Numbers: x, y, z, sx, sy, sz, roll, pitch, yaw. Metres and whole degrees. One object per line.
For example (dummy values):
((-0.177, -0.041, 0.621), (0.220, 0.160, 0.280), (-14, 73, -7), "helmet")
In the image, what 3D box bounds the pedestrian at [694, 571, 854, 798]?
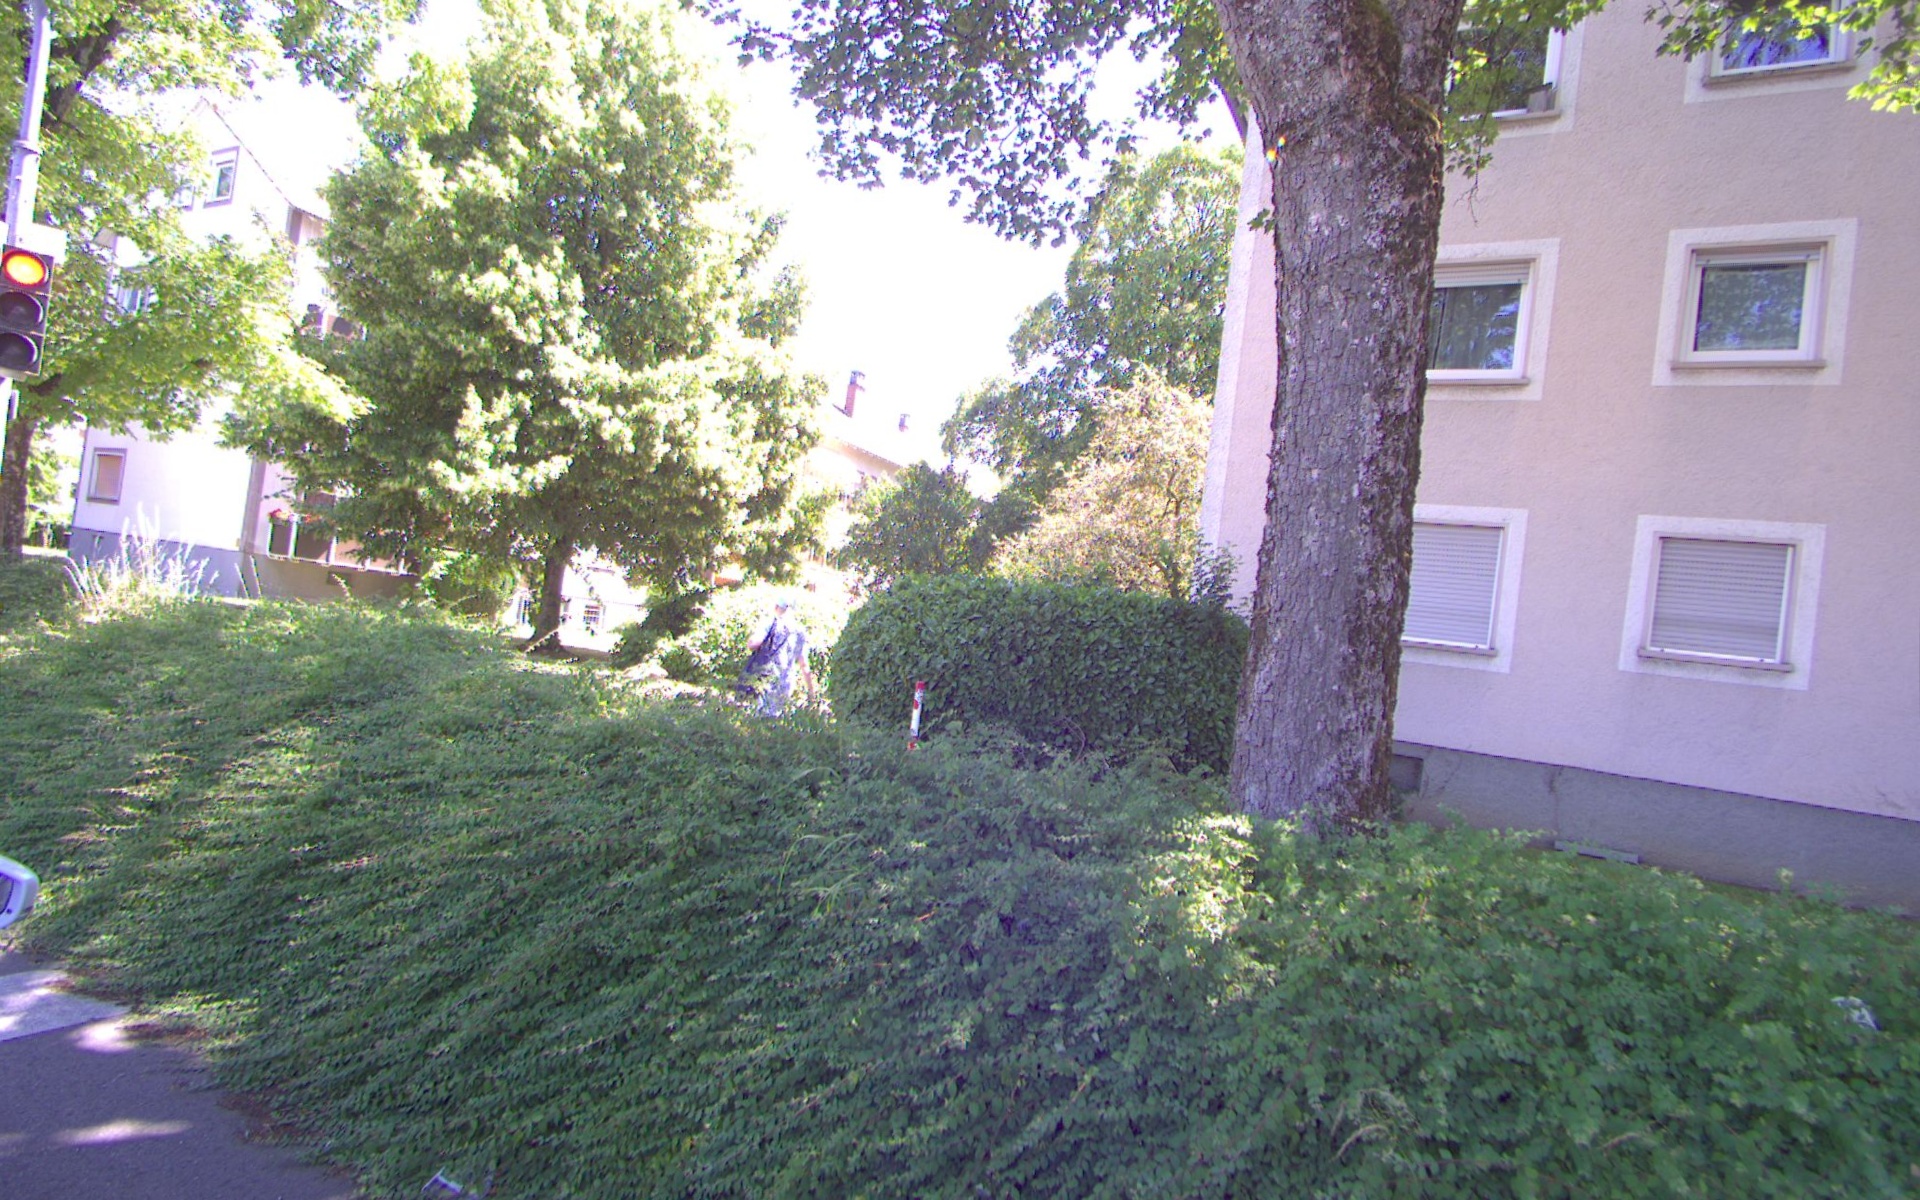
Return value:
((-1.489, 0.663, 8.141), (0.836, 1.653, 0.720), (7, 0, 23), "pedestrian")
